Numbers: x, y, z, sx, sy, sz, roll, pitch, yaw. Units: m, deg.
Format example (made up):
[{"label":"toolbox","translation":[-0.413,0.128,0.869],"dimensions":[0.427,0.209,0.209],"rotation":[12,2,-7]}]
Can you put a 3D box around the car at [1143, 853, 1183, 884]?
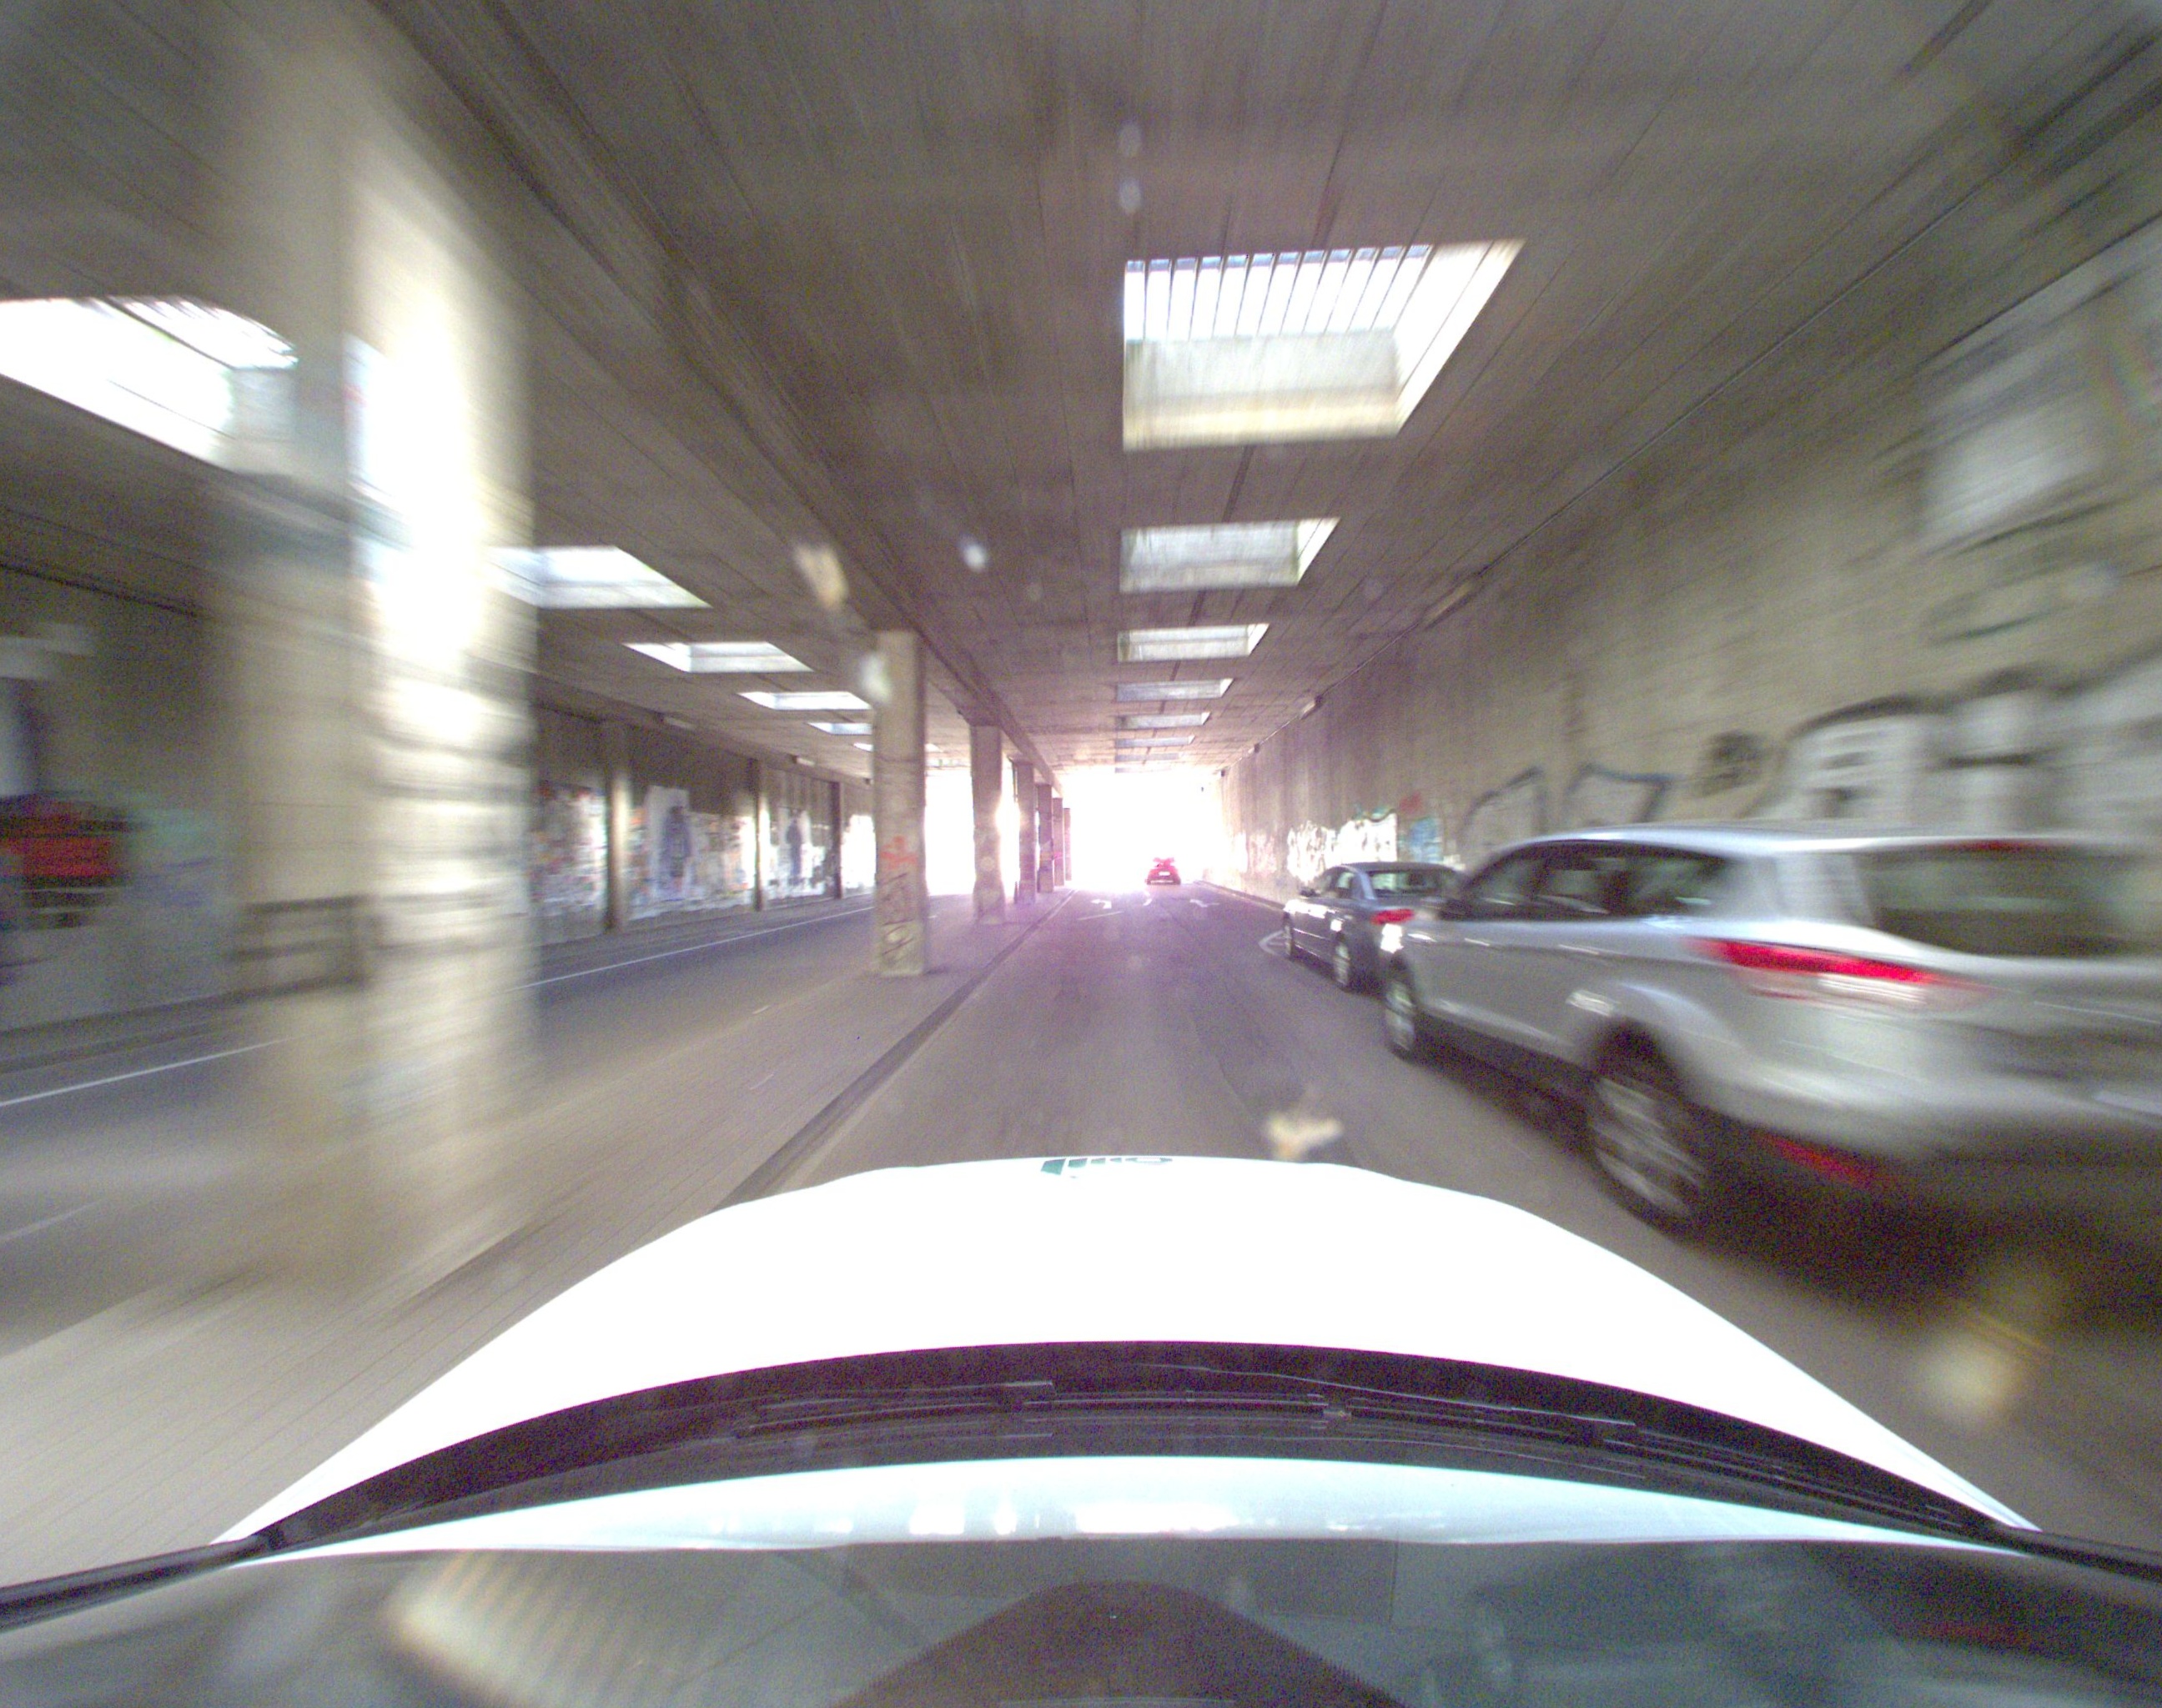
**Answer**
[{"label":"car","translation":[4.271,0.723,42.827],"dimensions":[1.819,1.501,4.214],"rotation":[-2,0,3]}]

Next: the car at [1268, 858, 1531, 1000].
[{"label":"car","translation":[3.685,0.764,10.317],"dimensions":[1.695,1.374,4.375],"rotation":[-1,0,1]}]

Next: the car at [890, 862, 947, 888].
[{"label":"car","translation":[-14.036,1.796,70.470],"dimensions":[4.462,2.013,2.001],"rotation":[-1,2,2]}]

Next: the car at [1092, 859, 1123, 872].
[{"label":"car","translation":[3.453,1.451,105.687],"dimensions":[3.967,1.574,1.642],"rotation":[-1,-1,6]}]

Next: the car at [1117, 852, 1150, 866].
[{"label":"car","translation":[7.090,0.668,109.718],"dimensions":[4.126,1.739,2.005],"rotation":[-2,0,9]}]

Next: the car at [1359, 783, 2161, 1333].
[{"label":"car","translation":[3.222,0.601,4.672],"dimensions":[1.846,1.666,4.372],"rotation":[-1,0,1]}]

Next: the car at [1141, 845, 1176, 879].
[{"label":"car","translation":[4.640,0.438,49.219],"dimensions":[1.808,1.882,4.588],"rotation":[-2,0,2]}]
